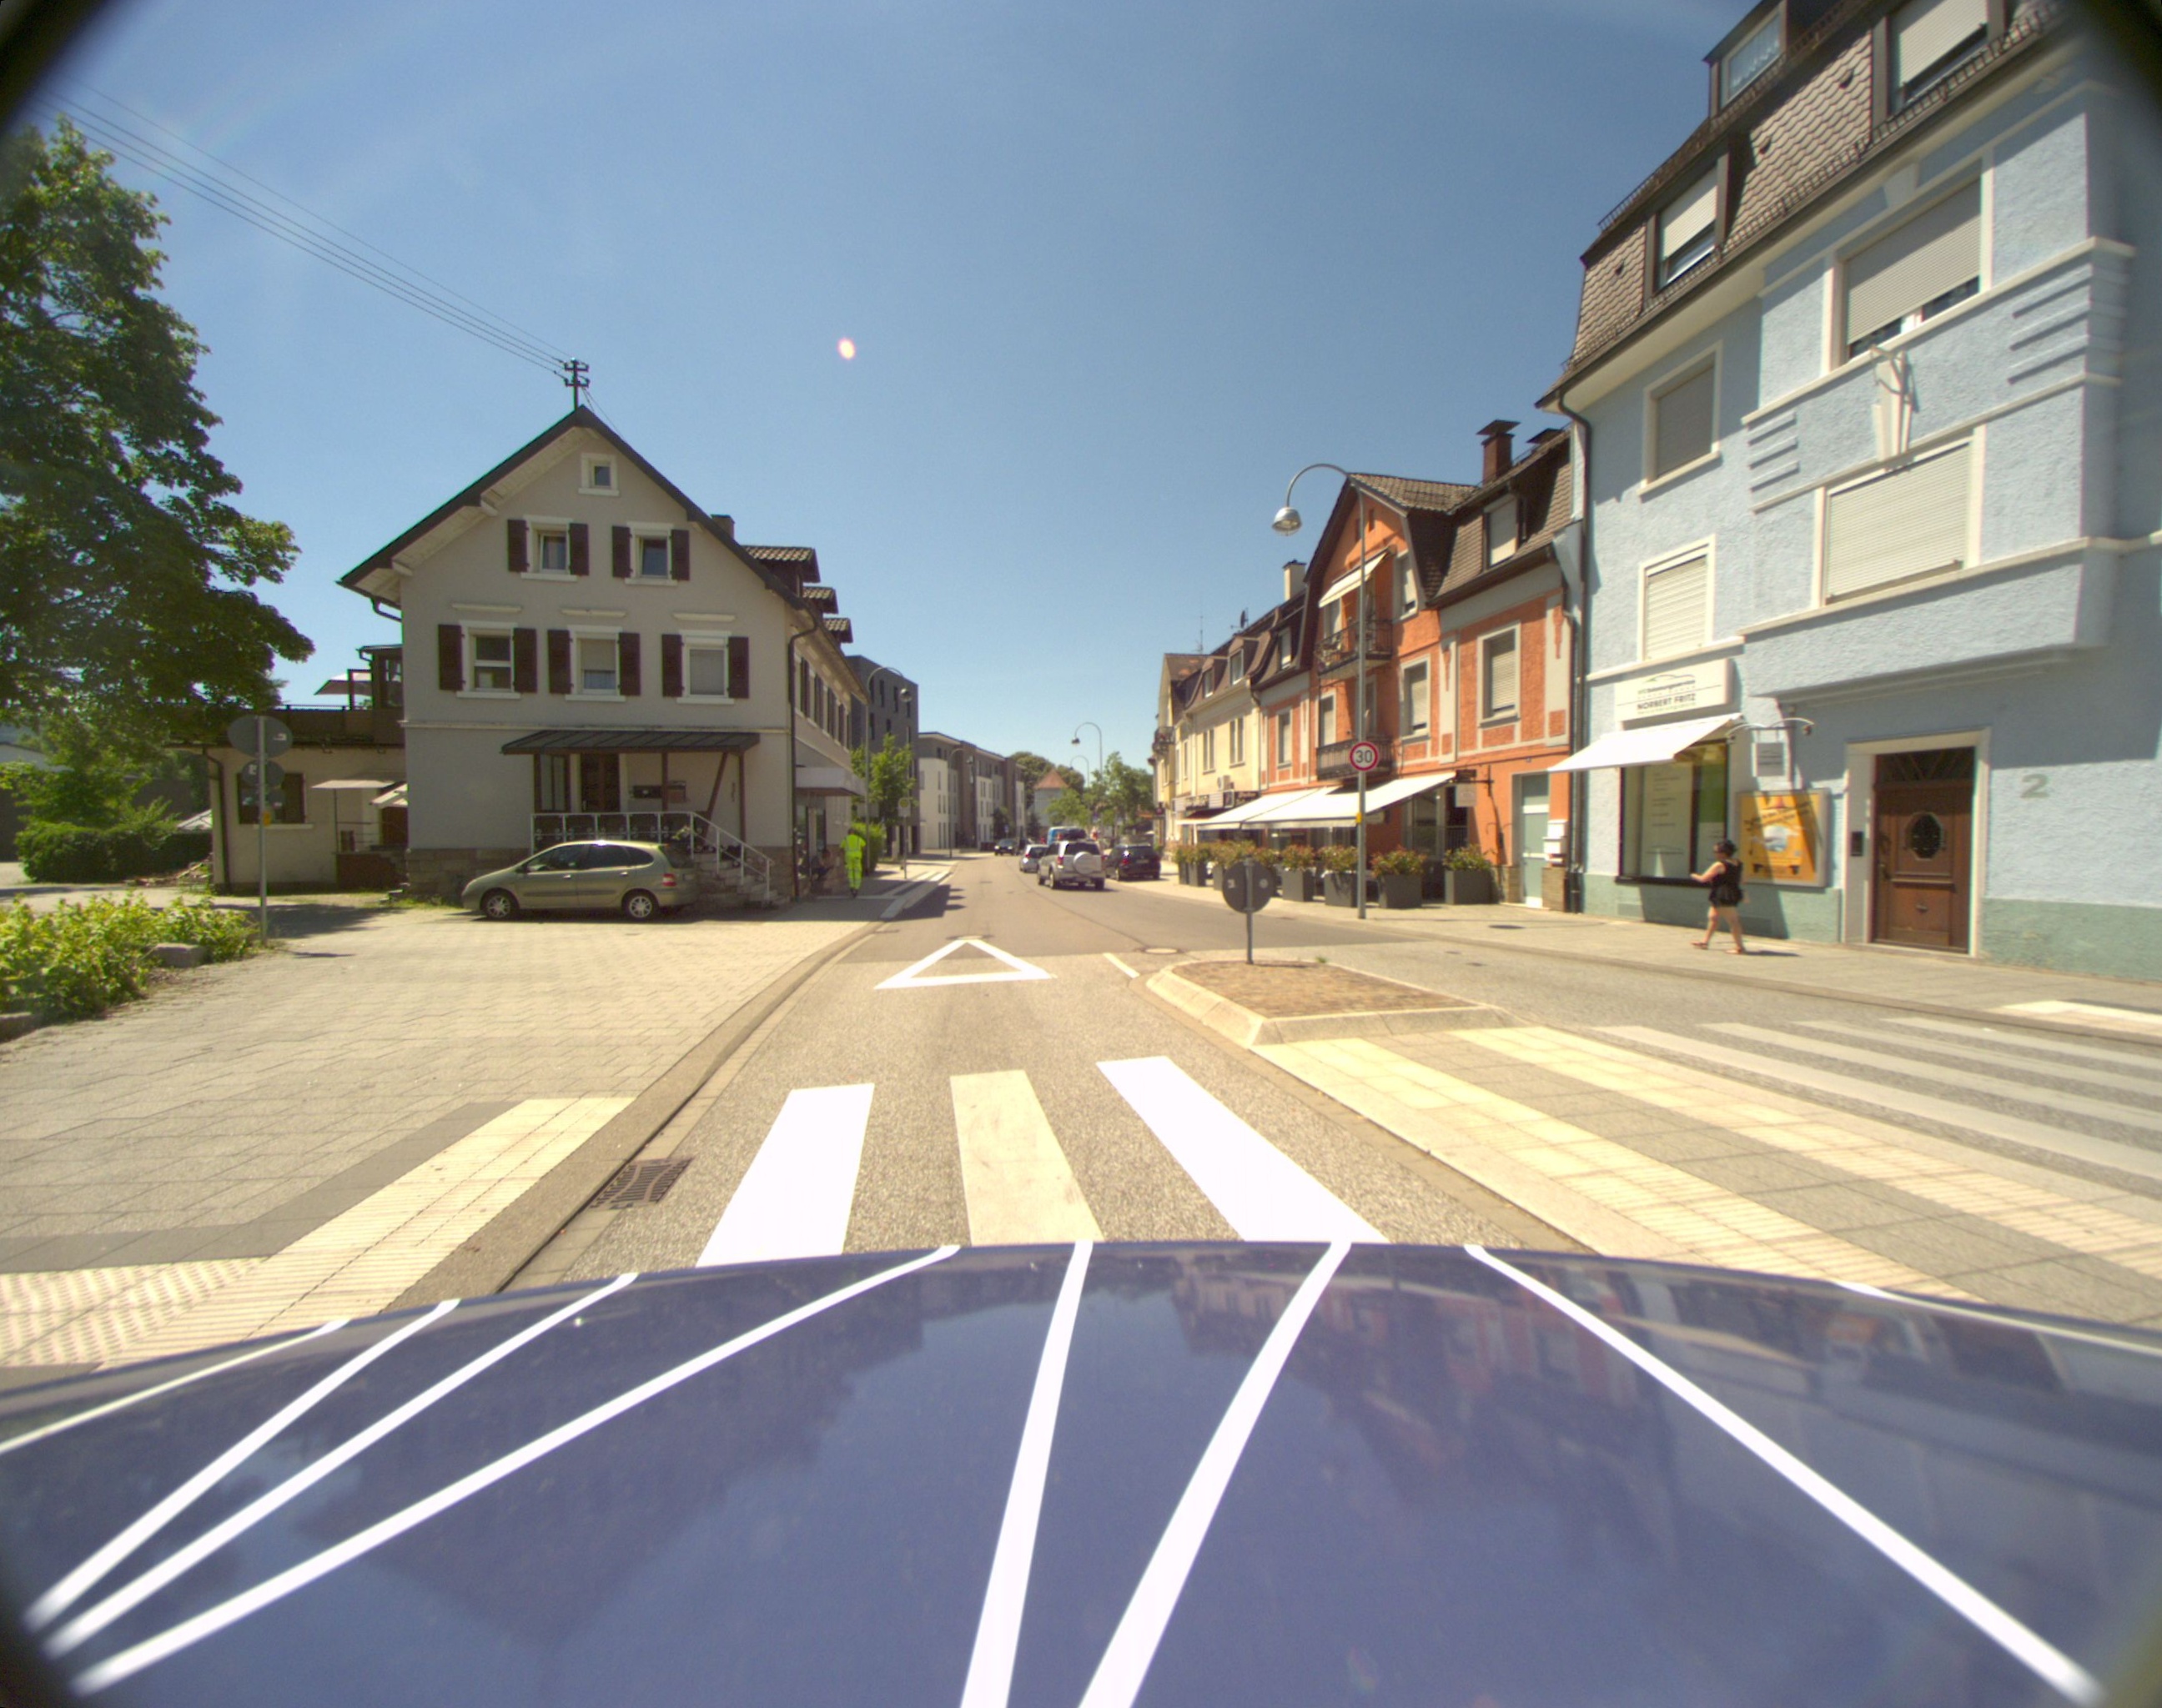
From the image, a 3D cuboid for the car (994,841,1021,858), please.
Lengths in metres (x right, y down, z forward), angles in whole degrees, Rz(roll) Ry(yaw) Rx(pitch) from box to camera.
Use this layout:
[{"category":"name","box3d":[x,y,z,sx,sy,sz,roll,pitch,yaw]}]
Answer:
[{"category":"car","box3d":[-7.440,-0.444,77.495,1.752,1.537,3.595,-2,2,10]}]

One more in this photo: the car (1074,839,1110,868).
[{"category":"car","box3d":[0.616,-0.057,44.754,1.683,1.537,3.591,-2,2,-6]}]

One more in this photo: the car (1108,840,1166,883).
[{"category":"car","box3d":[2.237,0.252,31.176,1.683,1.537,3.943,-2,2,-6]}]

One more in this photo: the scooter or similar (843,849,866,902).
[{"category":"scooter or similar","box3d":[-6.280,0.572,21.107,0.528,1.365,1.345,-1,2,-14]}]

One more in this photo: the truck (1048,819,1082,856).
[{"category":"truck","box3d":[-1.133,-1.144,52.536,1.961,2.357,4.333,-2,2,-6]}]

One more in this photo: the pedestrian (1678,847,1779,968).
[{"category":"pedestrian","box3d":[8.643,0.680,10.167,0.628,1.516,0.802,-3,2,-12]}]

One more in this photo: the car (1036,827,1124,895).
[{"category":"car","box3d":[-0.151,0.173,25.912,1.932,2.096,4.443,1,2,-14]}]

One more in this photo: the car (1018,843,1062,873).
[{"category":"car","box3d":[-2.175,0.181,39.343,1.684,1.449,3.589,1,2,-12]}]

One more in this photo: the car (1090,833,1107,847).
[{"category":"car","box3d":[2.042,-1.684,89.534,1.681,1.537,3.594,-2,2,6]}]

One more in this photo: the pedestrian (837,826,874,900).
[{"category":"pedestrian","box3d":[-6.250,0.234,21.105,0.921,2.019,0.899,-1,2,-14]}]

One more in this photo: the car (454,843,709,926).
[{"category":"car","box3d":[-10.100,0.595,15.664,4.000,1.587,1.793,0,1,-7]}]

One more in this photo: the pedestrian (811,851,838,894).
[{"category":"pedestrian","box3d":[-7.769,0.548,23.016,0.685,1.278,0.580,0,2,-12]}]
